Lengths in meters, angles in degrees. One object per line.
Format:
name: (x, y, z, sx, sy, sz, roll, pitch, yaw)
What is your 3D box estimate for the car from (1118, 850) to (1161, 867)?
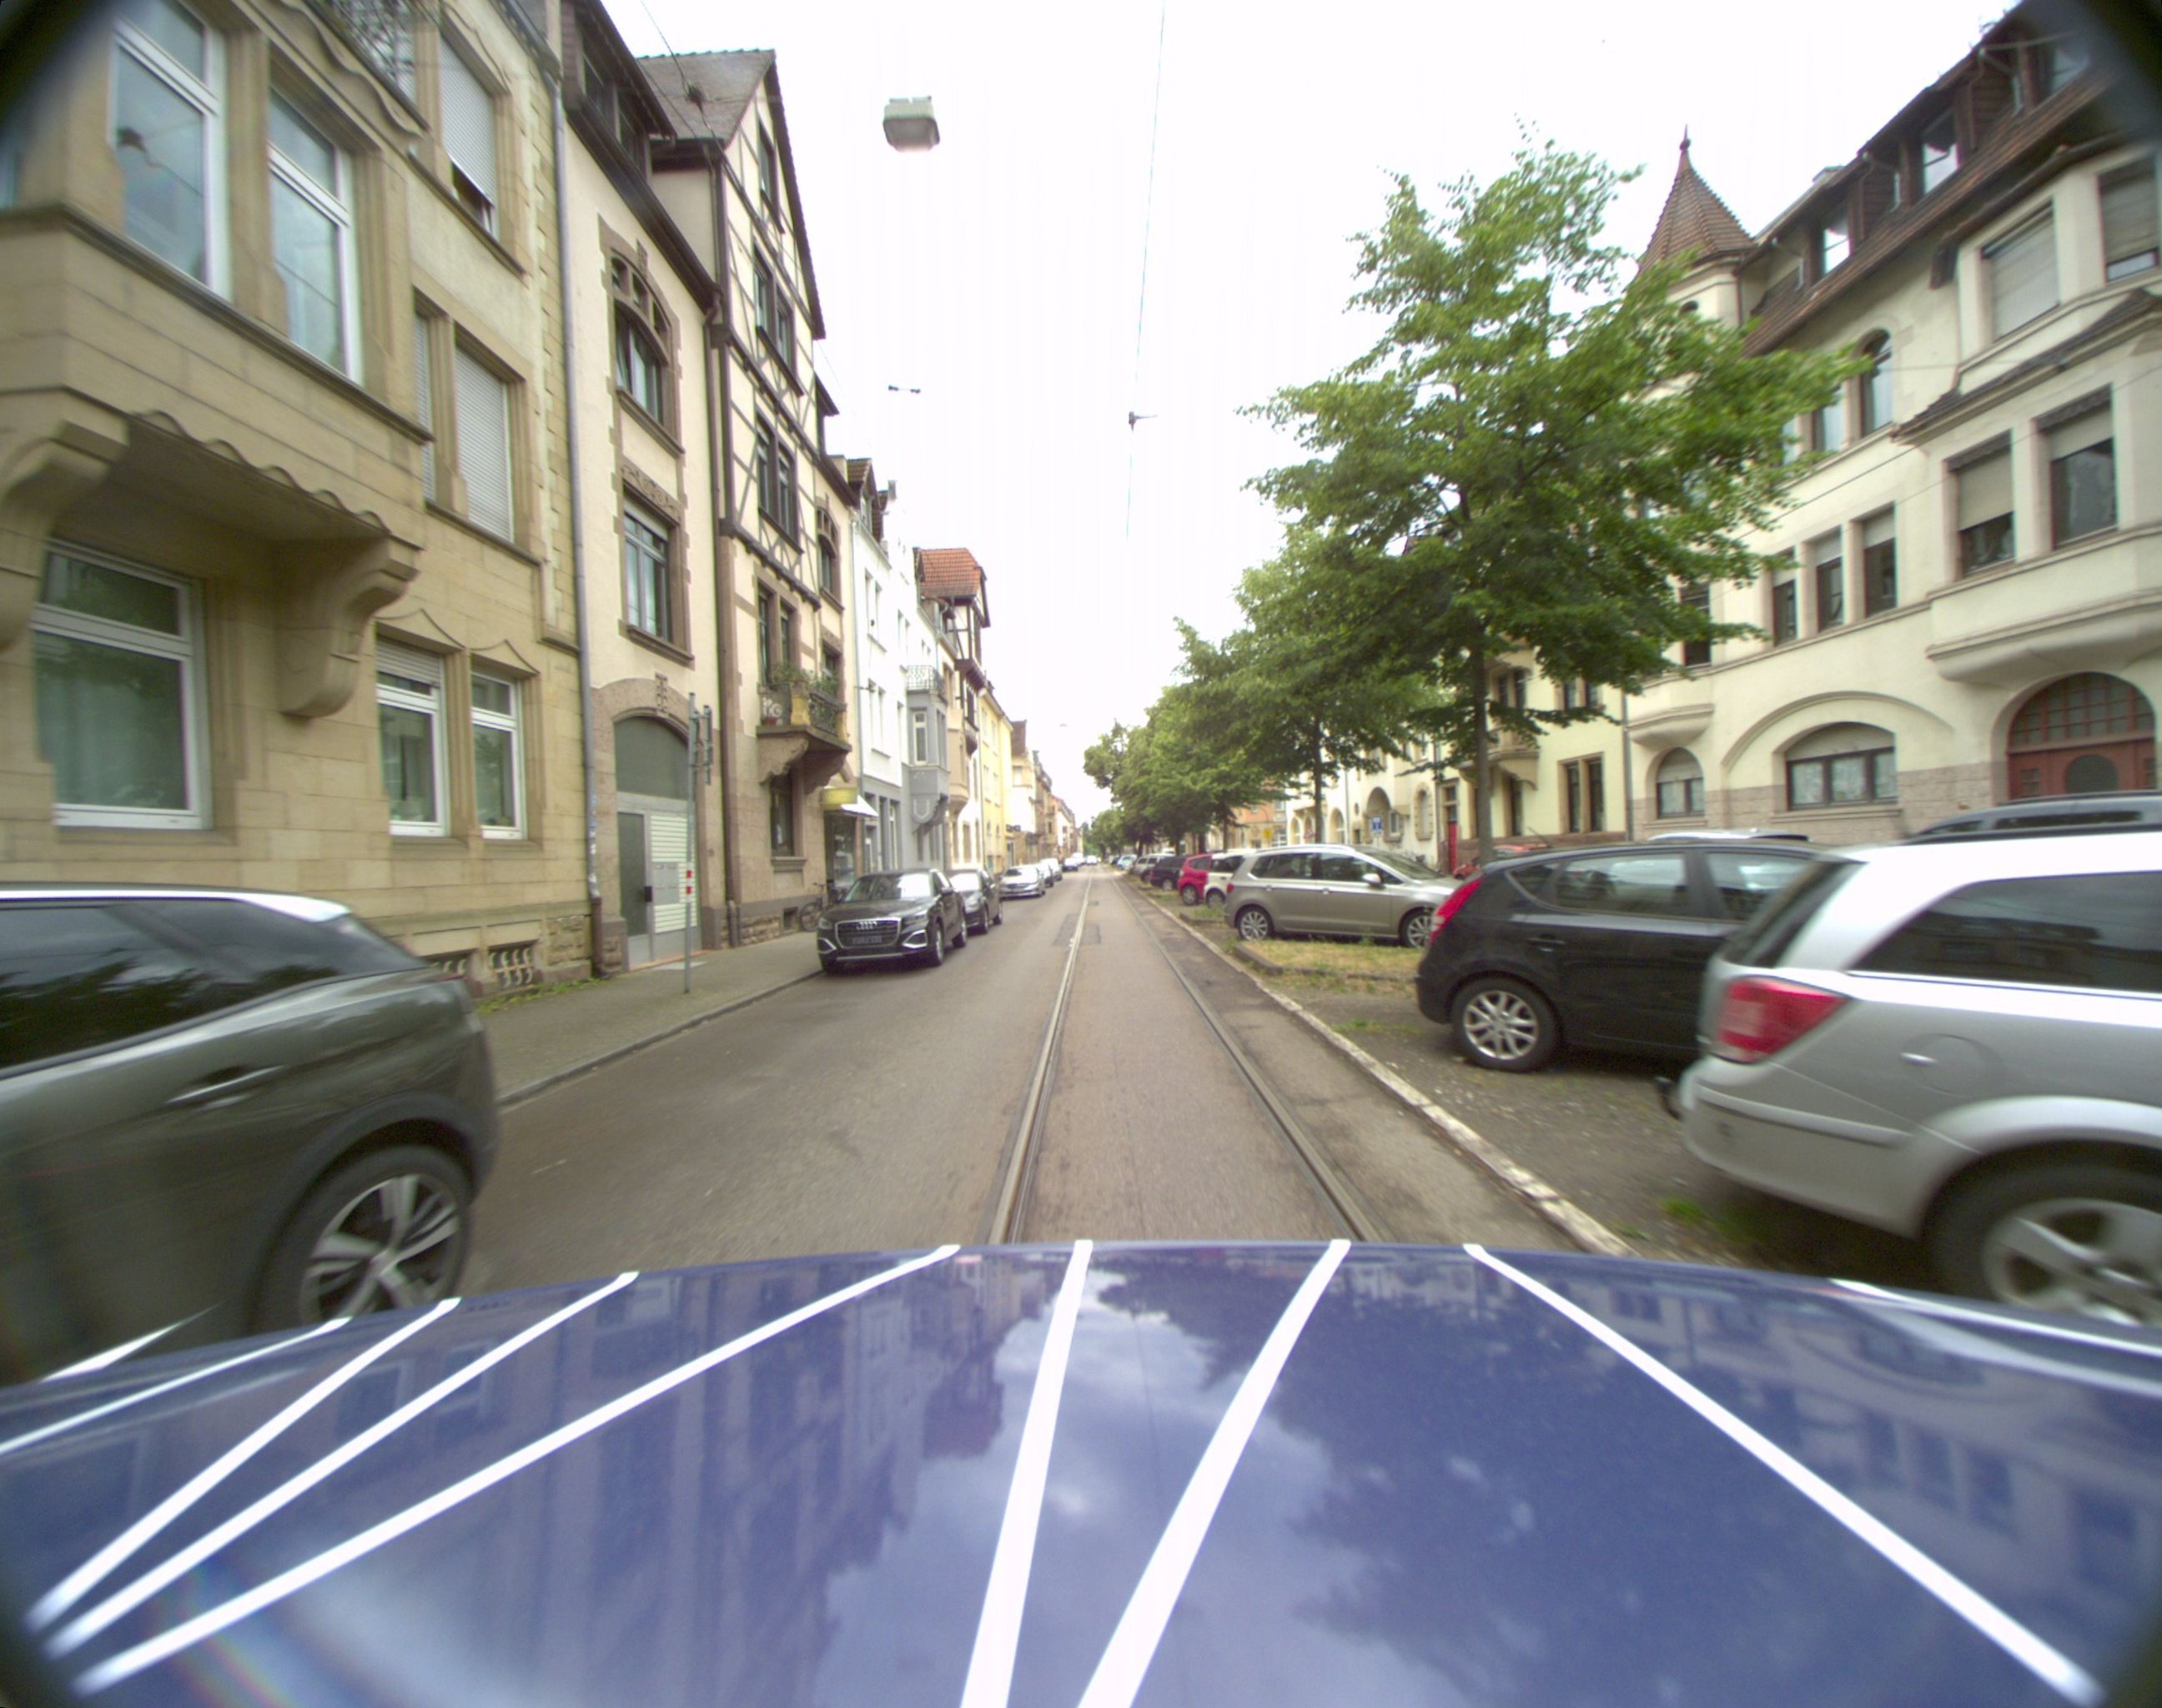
car: (6.054, 0.485, 78.672, 3.989, 1.602, 1.902, -2, -1, 32)

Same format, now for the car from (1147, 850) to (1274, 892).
car: (4.925, 0.683, 29.426, 1.889, 1.458, 4.596, -3, 0, -43)

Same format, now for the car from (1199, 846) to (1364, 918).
car: (4.796, 0.638, 18.422, 3.418, 1.518, 1.693, -1, 2, 44)

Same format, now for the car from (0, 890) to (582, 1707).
car: (-3.088, 0.999, 0.955, 1.764, 1.612, 4.694, -3, 0, 0)

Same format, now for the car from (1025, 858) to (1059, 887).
car: (-2.282, 1.068, 45.251, 1.635, 1.478, 4.214, -5, 0, 1)

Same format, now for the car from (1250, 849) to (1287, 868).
car: (12.931, 0.291, 52.447, 1.639, 1.169, 3.380, -3, 0, -1)

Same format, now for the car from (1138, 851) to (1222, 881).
car: (5.100, 0.652, 39.591, 1.902, 1.458, 3.989, -1, -1, -45)

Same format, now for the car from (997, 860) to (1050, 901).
car: (-2.488, 1.131, 33.832, 1.793, 1.504, 4.214, -5, 0, 2)

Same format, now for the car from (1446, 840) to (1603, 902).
car: (12.220, 0.430, 21.284, 1.855, 1.513, 4.194, -2, 0, -1)

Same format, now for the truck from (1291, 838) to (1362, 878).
truck: (12.620, 0.184, 39.566, 2.150, 1.845, 6.065, -3, 0, 5)

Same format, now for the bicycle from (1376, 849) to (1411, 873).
bicycle: (15.666, 0.368, 38.124, 0.613, 1.120, 1.914, -5, 0, -10)

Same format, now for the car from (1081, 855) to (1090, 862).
car: (1.046, 1.086, 170.397, 1.824, 1.477, 4.000, -3, 0, 1)

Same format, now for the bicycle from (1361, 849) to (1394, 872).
bicycle: (15.677, 0.365, 40.192, 0.613, 1.120, 1.914, -5, 0, -10)

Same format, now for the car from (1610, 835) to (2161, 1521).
car: (3.954, 0.683, 1.400, 1.867, 1.484, 4.553, -4, 1, -43)

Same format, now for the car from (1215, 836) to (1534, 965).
car: (4.359, 0.614, 11.704, 4.195, 1.600, 1.728, -1, 2, 43)

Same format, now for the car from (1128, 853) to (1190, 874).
car: (5.511, 0.680, 53.890, 3.989, 1.407, 1.902, -2, -1, 40)

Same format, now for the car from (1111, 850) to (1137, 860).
car: (7.353, 0.243, 130.720, 3.991, 1.602, 1.901, -2, -1, 22)

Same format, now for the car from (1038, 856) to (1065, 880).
car: (-2.100, 0.965, 55.314, 1.635, 1.519, 4.213, -3, 1, 1)

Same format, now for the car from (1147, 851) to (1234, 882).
car: (5.158, 0.612, 36.162, 1.793, 1.380, 3.727, -1, -1, -45)

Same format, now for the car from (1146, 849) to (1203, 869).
car: (7.238, 0.416, 58.590, 3.991, 1.407, 1.901, -2, -1, 22)

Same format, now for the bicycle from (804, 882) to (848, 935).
bicycle: (-5.841, 1.225, 17.476, 0.422, 1.091, 1.588, 2, 0, 1)

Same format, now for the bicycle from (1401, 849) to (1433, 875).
bicycle: (15.707, 0.365, 35.574, 0.612, 1.120, 1.916, -5, 0, 1)

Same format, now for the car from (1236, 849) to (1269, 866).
car: (13.060, 0.235, 58.055, 1.639, 1.169, 3.380, -3, 0, -1)

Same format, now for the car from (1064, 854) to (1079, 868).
car: (-1.097, 0.846, 90.766, 1.676, 1.519, 4.213, -3, 1, 1)

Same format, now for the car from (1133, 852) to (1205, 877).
car: (5.426, 0.648, 47.089, 3.989, 1.407, 1.902, -2, -1, 40)

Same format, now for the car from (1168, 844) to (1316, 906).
car: (4.564, 0.637, 21.937, 1.678, 1.518, 3.803, -4, 0, -44)

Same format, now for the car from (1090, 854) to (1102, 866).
car: (2.728, 1.062, 138.437, 1.998, 2.002, 4.000, -3, 1, 1)

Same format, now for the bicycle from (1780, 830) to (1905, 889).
bicycle: (15.217, 0.106, 15.258, 0.656, 1.081, 1.868, -3, 0, 3)

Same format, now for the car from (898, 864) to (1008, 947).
car: (-2.846, 1.096, 17.839, 1.702, 1.504, 4.391, -5, 0, 0)

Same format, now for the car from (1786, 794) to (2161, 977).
car: (11.899, 0.283, 9.628, 1.855, 1.859, 4.431, -2, 0, 2)

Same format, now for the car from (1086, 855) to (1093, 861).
car: (2.290, 0.989, 202.894, 1.824, 1.477, 4.000, -3, 0, 1)

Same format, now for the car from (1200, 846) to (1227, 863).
car: (13.306, 0.076, 76.405, 1.795, 1.596, 4.513, -3, 0, -1)

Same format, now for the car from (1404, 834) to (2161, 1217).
car: (4.232, 0.704, 4.313, 1.779, 1.476, 3.989, -3, 0, -44)

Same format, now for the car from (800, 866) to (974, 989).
car: (-3.013, 1.061, 12.813, 1.702, 1.504, 4.419, -5, 0, 0)

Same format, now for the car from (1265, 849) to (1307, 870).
car: (12.838, 0.337, 47.766, 1.639, 1.169, 3.380, -3, 0, -1)

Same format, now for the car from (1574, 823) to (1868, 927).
car: (12.029, 0.354, 14.790, 1.855, 1.650, 4.493, -2, 0, -1)
